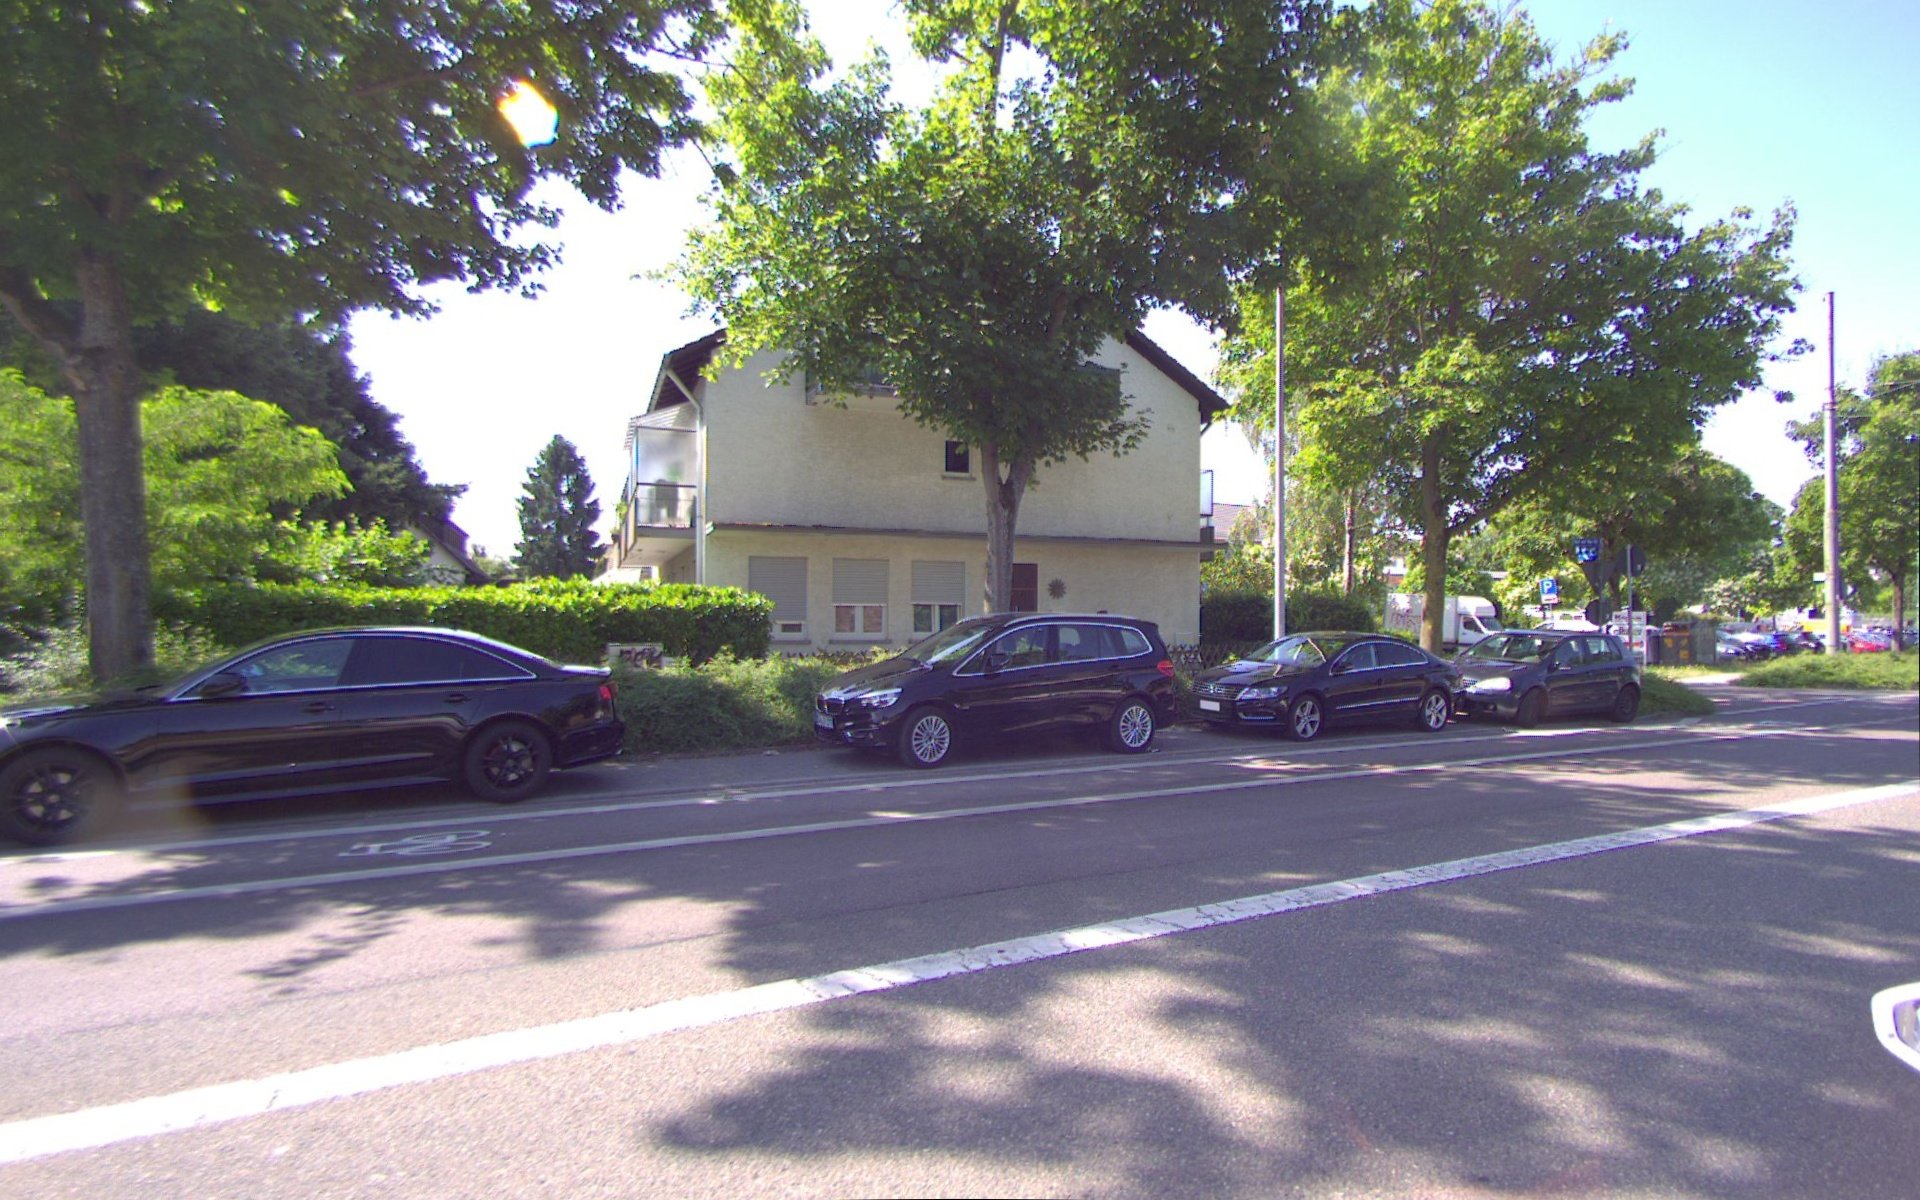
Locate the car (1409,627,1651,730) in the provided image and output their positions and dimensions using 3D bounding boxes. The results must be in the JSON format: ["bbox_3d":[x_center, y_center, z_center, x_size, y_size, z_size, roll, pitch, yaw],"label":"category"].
[{"bbox_3d":[9.527,1.234,16.744,3.954,1.470,1.634,1,1,-28],"label":"car"}]

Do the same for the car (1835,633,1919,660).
[{"bbox_3d":[46.751,2.311,50.367,1.748,1.241,3.974,1,-1,-26],"label":"car"}]

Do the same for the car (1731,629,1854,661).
[{"bbox_3d":[37.952,2.029,45.901,1.748,1.368,3.974,1,-1,-26],"label":"car"}]

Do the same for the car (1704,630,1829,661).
[{"bbox_3d":[35.714,1.986,44.577,1.748,1.241,3.974,1,-1,-26],"label":"car"}]

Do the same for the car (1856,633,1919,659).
[{"bbox_3d":[48.628,2.342,51.292,1.748,1.241,3.974,1,-1,-26],"label":"car"}]

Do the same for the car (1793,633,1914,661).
[{"bbox_3d":[42.561,2.200,47.920,1.748,1.241,3.974,1,-1,-26],"label":"car"}]

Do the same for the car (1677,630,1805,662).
[{"bbox_3d":[33.134,1.922,42.721,1.748,1.241,3.974,1,-1,-26],"label":"car"}]

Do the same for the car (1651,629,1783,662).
[{"bbox_3d":[30.923,1.838,41.142,1.750,1.241,3.969,1,-2,-30],"label":"car"}]

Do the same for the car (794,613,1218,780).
[{"bbox_3d":[0.638,0.999,11.872,4.835,1.627,1.754,1,0,-30],"label":"car"}]

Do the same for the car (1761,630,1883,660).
[{"bbox_3d":[40.278,2.076,47.043,1.748,1.281,3.974,1,-1,-26],"label":"car"}]

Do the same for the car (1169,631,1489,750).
[{"bbox_3d":[5.399,1.195,14.528,4.725,1.398,1.682,1,1,-30],"label":"car"}]

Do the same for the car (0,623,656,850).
[{"bbox_3d":[-5.238,0.947,8.413,4.857,1.485,1.829,1,-1,-33],"label":"car"}]

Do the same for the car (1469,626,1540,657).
[{"bbox_3d":[29.994,2.268,55.387,1.536,1.452,3.124,1,2,-24],"label":"car"}]

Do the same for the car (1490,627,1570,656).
[{"bbox_3d":[32.215,2.328,56.867,1.536,1.374,3.761,1,2,-24],"label":"car"}]

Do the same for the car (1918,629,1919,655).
[{"bbox_3d":[55.310,2.336,54.892,1.748,1.463,3.974,1,-1,-26],"label":"car"}]

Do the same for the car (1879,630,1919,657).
[{"bbox_3d":[50.952,2.282,52.470,1.748,1.420,3.974,1,-1,-26],"label":"car"}]

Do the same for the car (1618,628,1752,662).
[{"bbox_3d":[28.705,1.758,39.904,1.750,1.241,3.969,1,-2,-30],"label":"car"}]

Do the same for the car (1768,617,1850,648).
[{"bbox_3d":[62.466,2.374,73.950,1.980,2.040,4.229,2,1,-34],"label":"car"}]

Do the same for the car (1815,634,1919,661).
[{"bbox_3d":[44.750,2.283,49.219,1.748,1.241,3.974,1,-1,-26],"label":"car"}]

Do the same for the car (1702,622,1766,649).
[{"bbox_3d":[56.843,2.578,73.850,1.534,1.901,3.407,1,-1,-30],"label":"car"}]

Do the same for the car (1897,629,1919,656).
[{"bbox_3d":[53.084,2.303,53.725,1.748,1.463,3.974,1,-1,-26],"label":"car"}]

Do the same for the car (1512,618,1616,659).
[{"bbox_3d":[34.548,2.173,57.568,1.979,2.040,4.665,2,1,-33],"label":"car"}]

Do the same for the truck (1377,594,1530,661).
[{"bbox_3d":[25.700,1.353,52.731,2.205,3.059,7.105,1,2,-30],"label":"truck"}]
